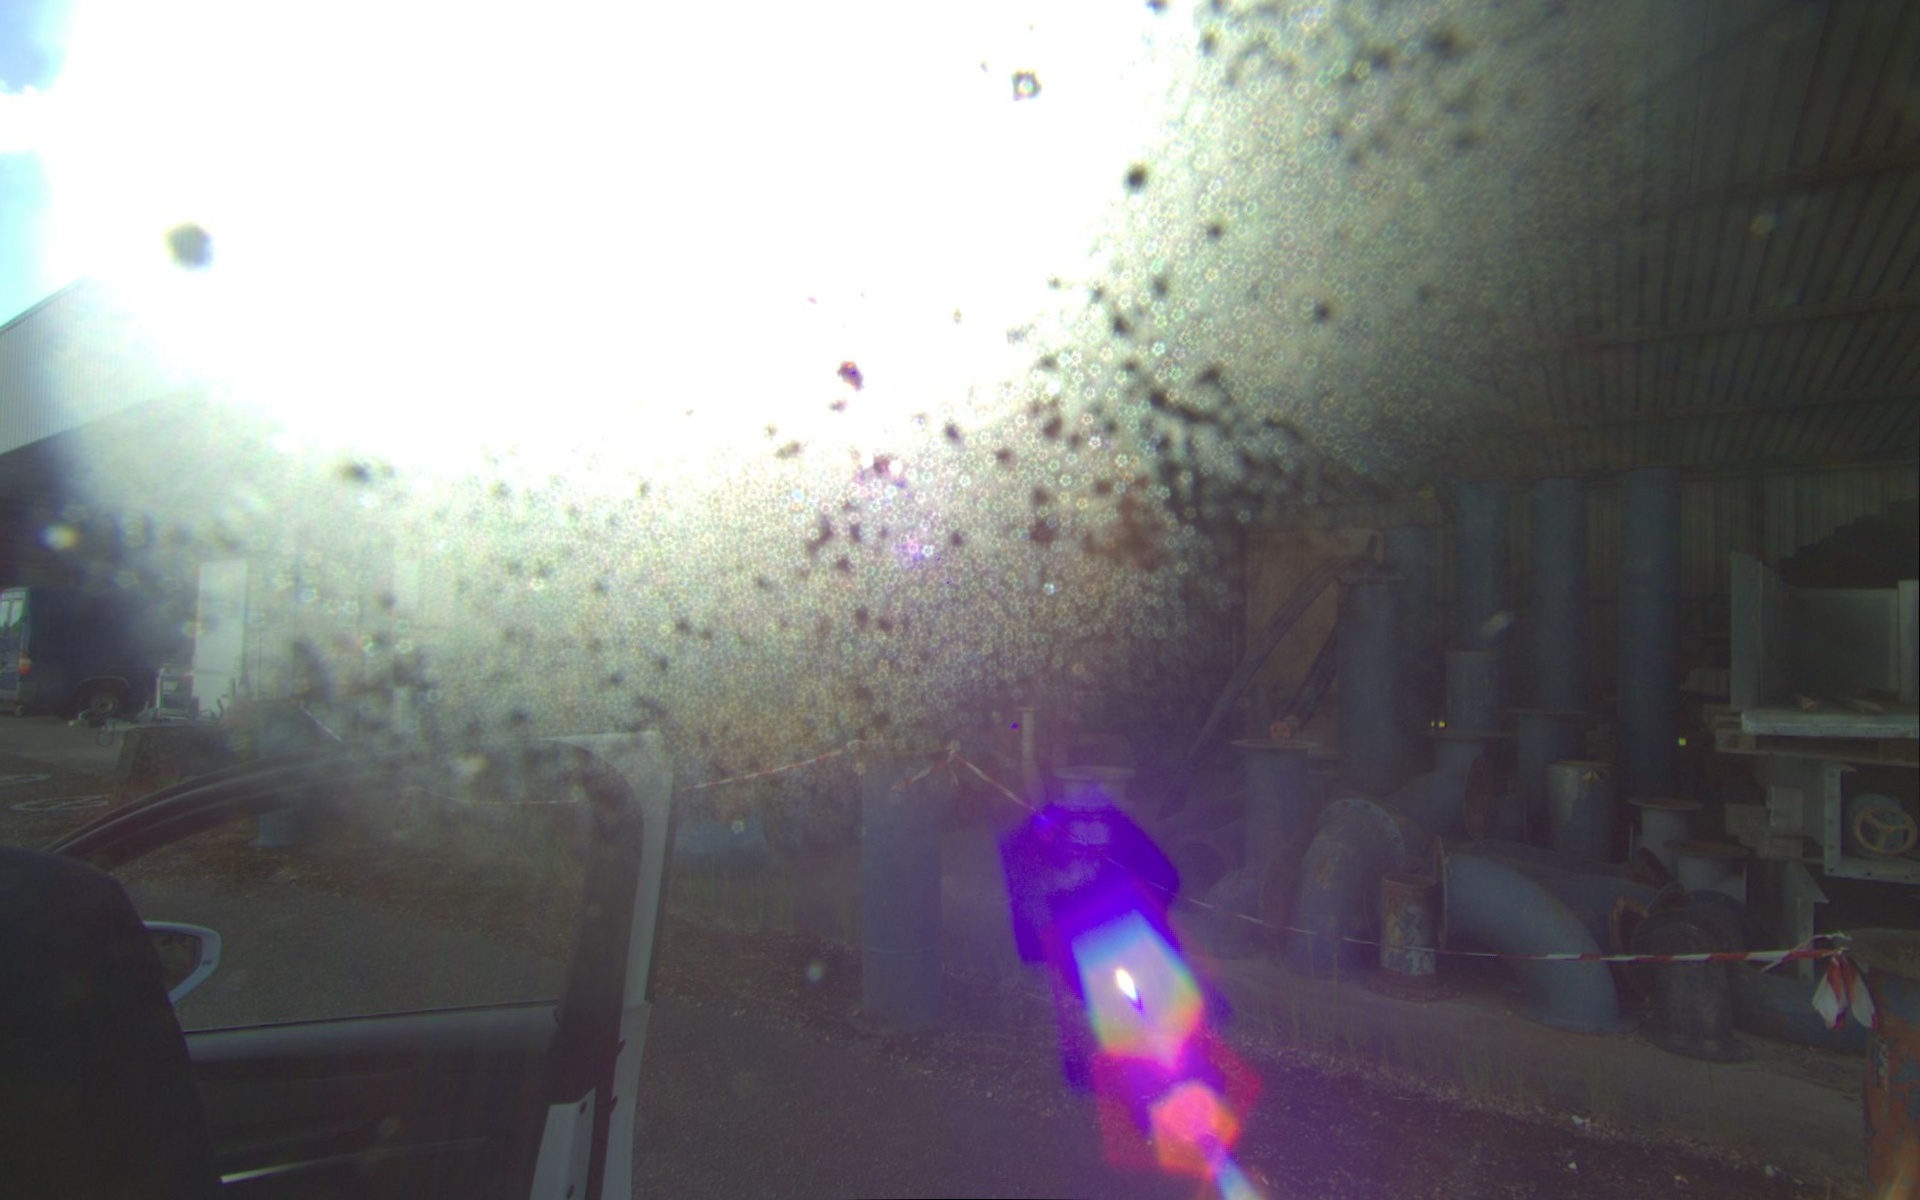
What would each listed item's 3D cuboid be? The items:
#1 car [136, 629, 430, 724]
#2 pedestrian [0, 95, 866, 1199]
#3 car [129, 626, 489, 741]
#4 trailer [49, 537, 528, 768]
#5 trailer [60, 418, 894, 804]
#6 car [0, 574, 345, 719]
[{"bbox_3d":[-11.919,1.302,17.910,1.761,1.491,3.985,-1,-3,29],"label":"car"},{"bbox_3d":[-0.491,0.618,0.961,0.562,1.809,0.550,0,-2,32],"label":"pedestrian"},{"bbox_3d":[-9.821,1.210,15.491,1.751,1.514,4.324,-1,-3,31],"label":"car"},{"bbox_3d":[-8.373,0.672,12.962,1.804,2.421,4.796,-1,-3,38],"label":"trailer"},{"bbox_3d":[-5.056,0.322,13.428,2.814,3.256,10.018,-1,-3,34],"label":"trailer"},{"bbox_3d":[-14.769,0.901,18.904,1.973,2.354,4.969,-1,-3,34],"label":"car"}]
